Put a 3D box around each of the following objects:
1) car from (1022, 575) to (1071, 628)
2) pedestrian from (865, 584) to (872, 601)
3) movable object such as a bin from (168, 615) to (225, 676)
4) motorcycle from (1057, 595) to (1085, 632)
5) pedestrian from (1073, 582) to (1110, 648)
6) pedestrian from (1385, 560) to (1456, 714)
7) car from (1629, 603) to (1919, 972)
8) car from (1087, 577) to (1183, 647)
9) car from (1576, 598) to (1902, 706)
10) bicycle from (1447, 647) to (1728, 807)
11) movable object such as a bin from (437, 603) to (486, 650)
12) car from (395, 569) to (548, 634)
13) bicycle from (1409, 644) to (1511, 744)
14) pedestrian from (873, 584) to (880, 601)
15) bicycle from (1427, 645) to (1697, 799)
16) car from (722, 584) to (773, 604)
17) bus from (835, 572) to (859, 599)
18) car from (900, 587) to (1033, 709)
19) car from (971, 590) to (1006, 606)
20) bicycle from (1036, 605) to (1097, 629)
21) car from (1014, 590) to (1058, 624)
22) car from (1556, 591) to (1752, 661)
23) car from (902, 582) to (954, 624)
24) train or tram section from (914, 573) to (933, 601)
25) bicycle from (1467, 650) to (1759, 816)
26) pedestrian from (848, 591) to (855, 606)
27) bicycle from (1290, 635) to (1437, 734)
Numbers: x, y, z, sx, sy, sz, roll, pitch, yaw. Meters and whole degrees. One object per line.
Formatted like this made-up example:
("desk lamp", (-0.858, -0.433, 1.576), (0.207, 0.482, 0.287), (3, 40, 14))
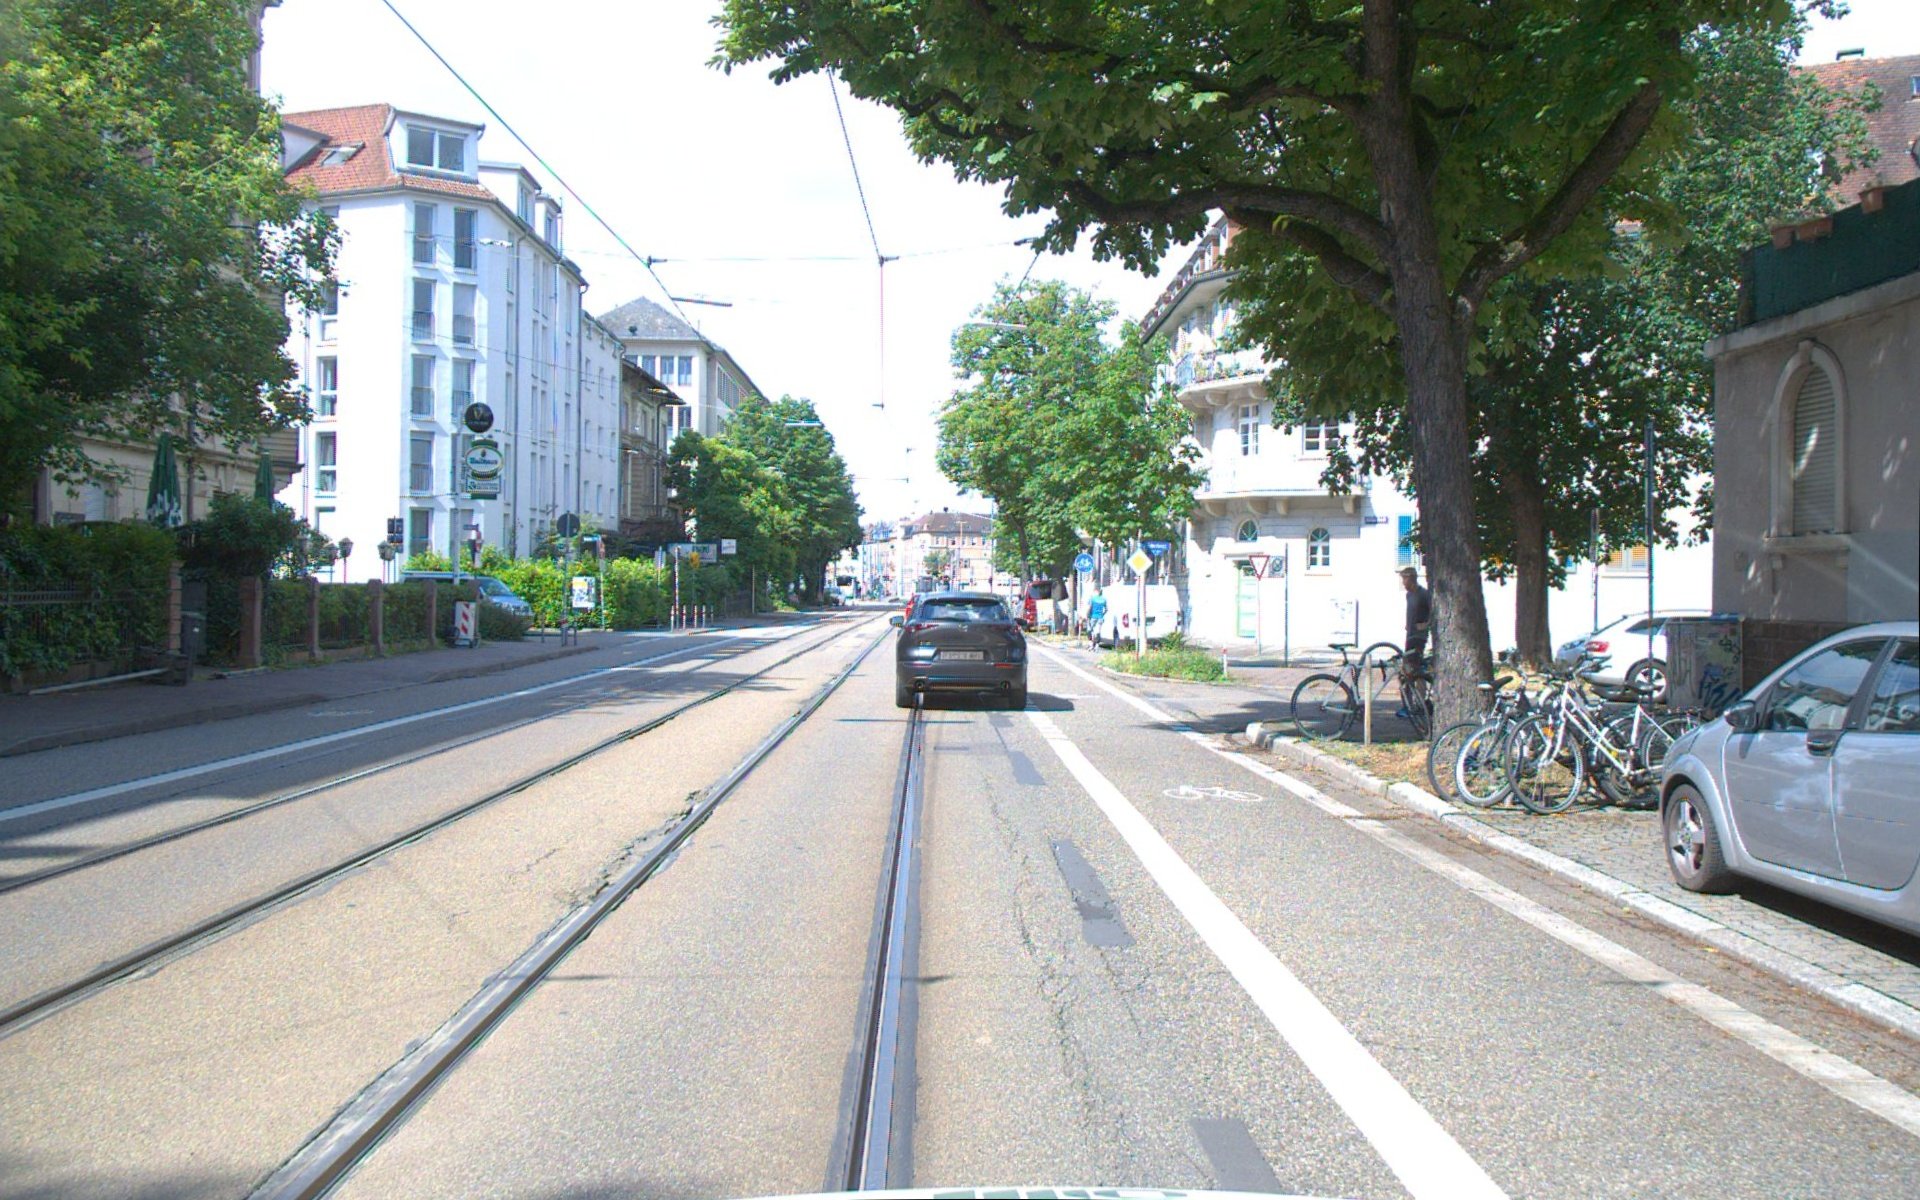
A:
("car", (3.408, 0.041, 65.810), (1.685, 2.003, 4.206), (1, 0, -1))
("pedestrian", (-11.297, -0.907, 203.750), (0.867, 2.049, 0.617), (1, 0, -5))
("movable object such as a bin", (-11.410, 0.677, 24.727), (0.551, 0.891, 0.616), (1, 0, -1))
("motorcycle", (3.985, 0.469, 59.387), (0.778, 1.293, 2.422), (1, 0, -1))
("pedestrian", (3.774, 0.421, 47.325), (0.798, 1.868, 0.962), (1, 1, 20))
("pedestrian", (5.700, 0.457, 20.513), (0.598, 1.868, 0.878), (0, -2, -3))
("car", (4.723, 0.772, 7.703), (1.632, 1.455, 3.765), (-1, 0, -1))
("car", (5.150, 0.314, 49.325), (1.753, 1.972, 4.983), (1, 1, -7))
("car", (12.153, 0.776, 25.996), (4.470, 1.502, 1.867), (1, -1, 26))
("bicycle", (4.499, 0.906, 11.894), (1.865, 1.091, 0.402), (1, 0, -1))
("movable object such as a bin", (-11.232, 0.584, 37.304), (0.730, 1.005, 1.114), (3, 0, -1))
("car", (-16.243, 0.018, 55.038), (4.566, 2.049, 2.047), (1, 0, 21))
("bicycle", (5.082, 0.934, 16.896), (0.253, 0.916, 1.768), (0, 0, -9))
("pedestrian", (-10.260, -0.886, 203.712), (0.867, 2.049, 0.617), (1, 0, -5))
("bicycle", (4.480, 0.901, 12.353), (1.865, 1.091, 0.402), (1, 0, -1))
("car", (-16.003, -0.444, 124.559), (3.674, 1.309, 1.609), (3, 0, -5))
("bus", (-15.423, -1.988, 225.299), (2.637, 3.480, 11.001), (3, 0, -7))
("car", (0.040, 0.603, 23.029), (1.686, 1.553, 3.588), (1, 0, -2))
("car", (3.307, -0.251, 191.129), (3.749, 1.646, 1.629), (3, 0, -19))
("bicycle", (3.996, 0.642, 62.363), (2.229, 0.876, 0.671), (1, 0, -2))
("car", (3.349, 0.310, 73.586), (1.686, 1.449, 3.588), (1, 0, -2))
("car", (15.438, 0.568, 36.823), (3.910, 1.436, 1.650), (1, -1, 27))
("car", (-1.311, 0.096, 67.002), (1.953, 1.555, 3.999), (3, 0, -2))
("train or tram section", (-5.136, -1.877, 235.943), (2.519, 3.838, 13.024), (0, 0, -1))
("bicycle", (4.517, 0.914, 11.480), (1.865, 1.091, 0.402), (1, 0, -1))
("pedestrian", (-11.788, -0.175, 179.321), (0.736, 1.537, 0.823), (1, 0, -6))
("bicycle", (4.154, 0.863, 17.045), (1.460, 1.000, 0.259), (0, 0, 1))
